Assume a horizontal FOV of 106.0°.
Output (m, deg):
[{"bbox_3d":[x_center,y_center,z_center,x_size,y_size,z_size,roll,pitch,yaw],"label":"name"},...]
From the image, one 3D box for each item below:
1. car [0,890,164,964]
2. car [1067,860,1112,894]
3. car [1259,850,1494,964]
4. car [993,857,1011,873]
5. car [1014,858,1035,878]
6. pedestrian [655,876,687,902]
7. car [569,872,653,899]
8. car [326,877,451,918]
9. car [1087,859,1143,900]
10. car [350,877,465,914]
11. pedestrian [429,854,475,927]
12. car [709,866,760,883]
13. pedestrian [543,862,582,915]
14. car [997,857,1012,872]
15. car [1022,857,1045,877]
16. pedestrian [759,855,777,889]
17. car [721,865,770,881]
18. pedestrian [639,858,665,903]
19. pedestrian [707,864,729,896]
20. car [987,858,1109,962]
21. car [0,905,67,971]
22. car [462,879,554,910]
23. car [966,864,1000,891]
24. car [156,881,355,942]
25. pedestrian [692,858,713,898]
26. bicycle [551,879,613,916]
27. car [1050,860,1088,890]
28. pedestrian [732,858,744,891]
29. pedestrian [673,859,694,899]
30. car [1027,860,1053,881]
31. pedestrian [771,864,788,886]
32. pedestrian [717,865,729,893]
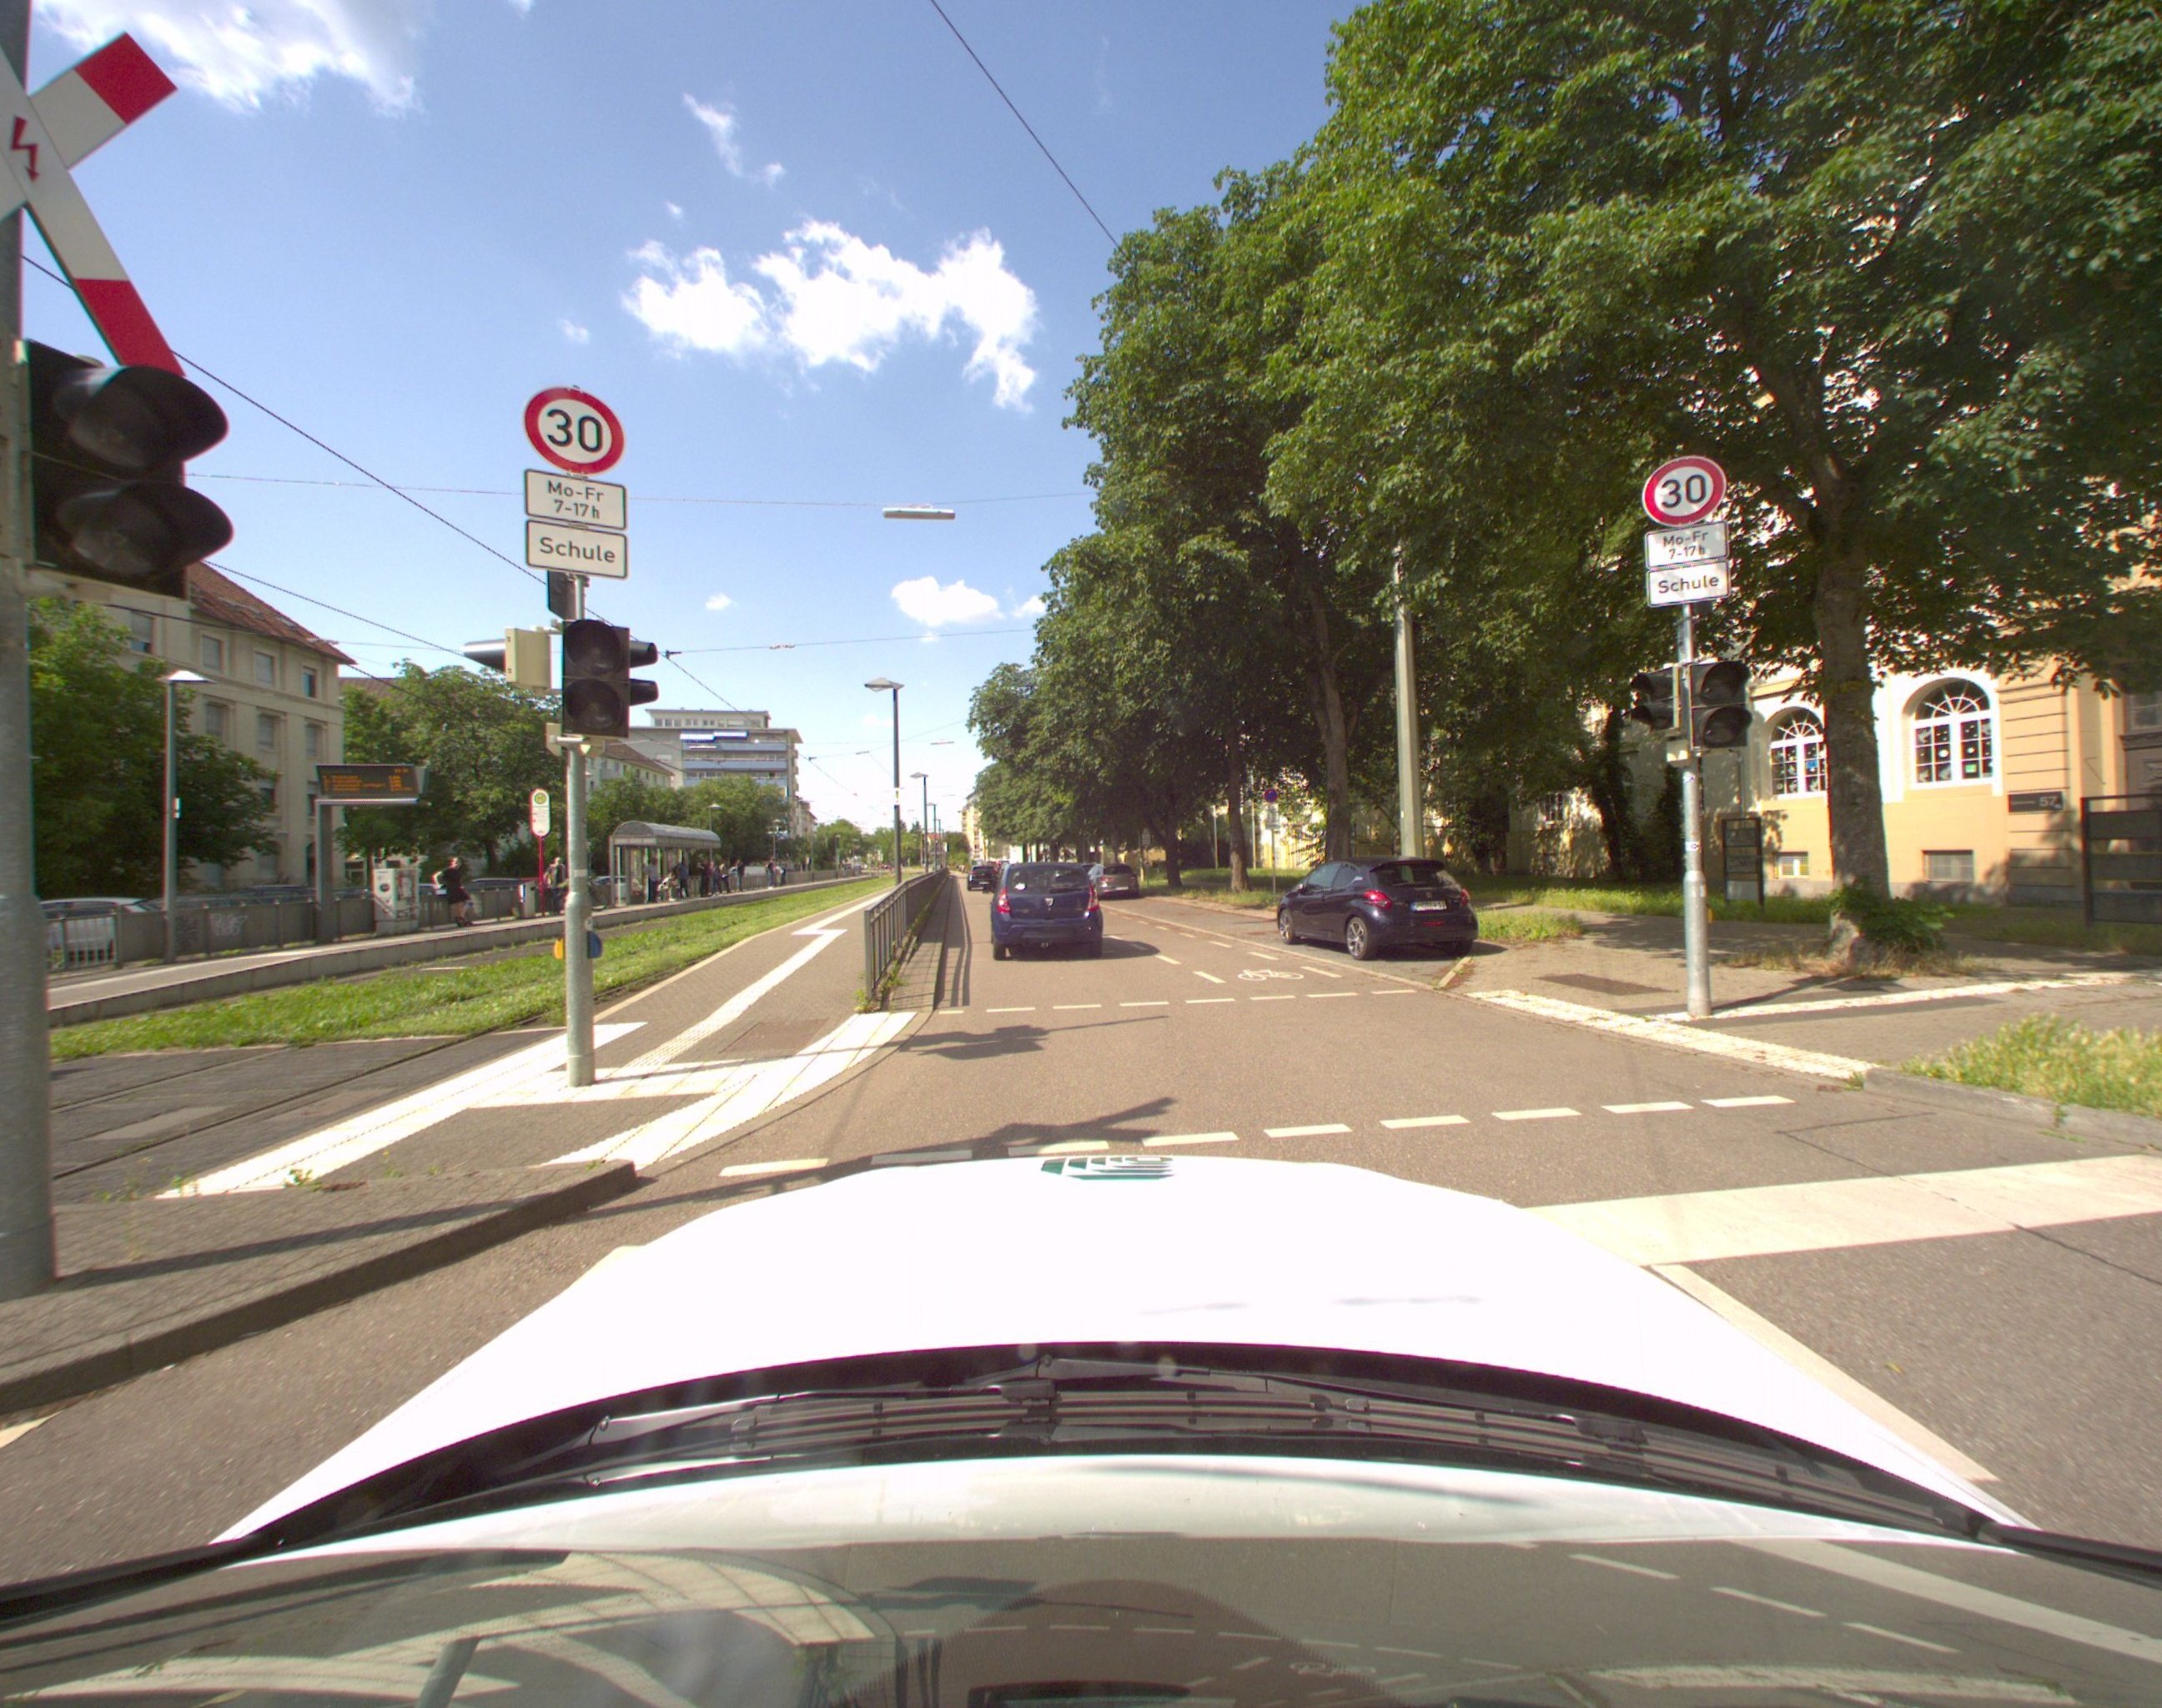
[{"bbox_3d":[-23.737,1.661,18.754,1.525,1.505,3.409,-2,-1,44],"label":"car"},{"bbox_3d":[0.338,1.075,39.157,1.857,1.445,3.995,-3,0,-3],"label":"car"},{"bbox_3d":[4.395,0.713,12.822,1.765,1.433,3.891,-2,0,-9],"label":"car"},{"bbox_3d":[-9.142,1.204,94.404,1.826,1.762,3.995,-2,0,-3],"label":"car"},{"bbox_3d":[-5.262,1.256,75.891,1.616,1.750,3.989,-2,0,-8],"label":"car"},{"bbox_3d":[-16.579,1.399,32.954,0.923,0.989,0.795,-3,-2,-6],"label":"pedestrian"},{"bbox_3d":[-28.250,1.898,49.005,1.694,1.367,4.025,-3,0,40],"label":"car"},{"bbox_3d":[-25.730,1.583,30.342,1.437,1.309,3.267,-2,0,33],"label":"car"},{"bbox_3d":[1.315,0.983,33.159,1.857,1.445,3.995,-3,0,-3],"label":"car"},{"bbox_3d":[-26.897,1.632,32.616,1.437,1.309,3.267,-2,0,36],"label":"car"},{"bbox_3d":[-15.240,0.872,19.739,0.705,1.726,0.672,-2,-1,33],"label":"pedestrian"},{"bbox_3d":[-31.416,1.813,73.925,1.618,1.386,4.026,-2,0,36],"label":"car"},{"bbox_3d":[-15.818,1.040,24.873,0.661,1.569,0.685,-3,0,-1],"label":"pedestrian"},{"bbox_3d":[-9.413,1.244,100.579,1.664,1.772,3.994,-2,0,-4],"label":"car"},{"bbox_3d":[-3.916,1.086,67.463,1.824,1.537,3.995,-2,0,-3],"label":"car"},{"bbox_3d":[-18.860,1.074,49.062,0.800,2.014,0.661,-2,-1,-6],"label":"pedestrian"},{"bbox_3d":[-32.510,1.838,79.061,4.022,1.447,1.707,-1,0,-43],"label":"car"},{"bbox_3d":[-16.566,1.019,31.444,0.654,1.692,0.654,-2,0,-8],"label":"pedestrian"},{"bbox_3d":[-16.625,1.208,37.289,0.648,1.426,0.566,-3,-1,28],"label":"pedestrian"},{"bbox_3d":[-0.689,0.823,13.787,1.766,1.462,3.766,-1,0,-7],"label":"car"},{"bbox_3d":[-22.848,1.754,16.100,1.525,1.236,3.410,-2,0,42],"label":"car"},{"bbox_3d":[-27.381,1.898,38.994,1.437,1.309,3.267,-2,0,36],"label":"car"},{"bbox_3d":[-5.515,1.304,46.158,1.697,1.368,3.510,-1,1,-4],"label":"car"},{"bbox_3d":[-24.387,1.651,24.184,1.669,1.456,4.025,-3,0,41],"label":"car"},{"bbox_3d":[-16.971,1.084,36.540,0.602,1.766,0.639,-2,-1,1],"label":"pedestrian"},{"bbox_3d":[-15.182,1.302,24.846,0.683,0.974,1.772,-4,0,2],"label":"bicycle"},{"bbox_3d":[-0.718,1.136,45.205,1.857,1.445,3.995,-3,0,-3],"label":"car"},{"bbox_3d":[-18.145,1.067,43.036,0.489,1.712,0.461,-2,-1,-18],"label":"pedestrian"},{"bbox_3d":[-17.294,1.078,35.402,0.592,1.736,0.556,-2,0,-4],"label":"pedestrian"},{"bbox_3d":[-3.133,1.268,62.218,1.857,1.445,3.995,-3,0,-3],"label":"car"},{"bbox_3d":[-20.886,1.423,56.384,1.033,1.437,0.698,-3,0,-23],"label":"pedestrian"},{"bbox_3d":[-18.917,1.311,43.067,0.489,1.452,0.461,-2,0,-18],"label":"pedestrian"}]
